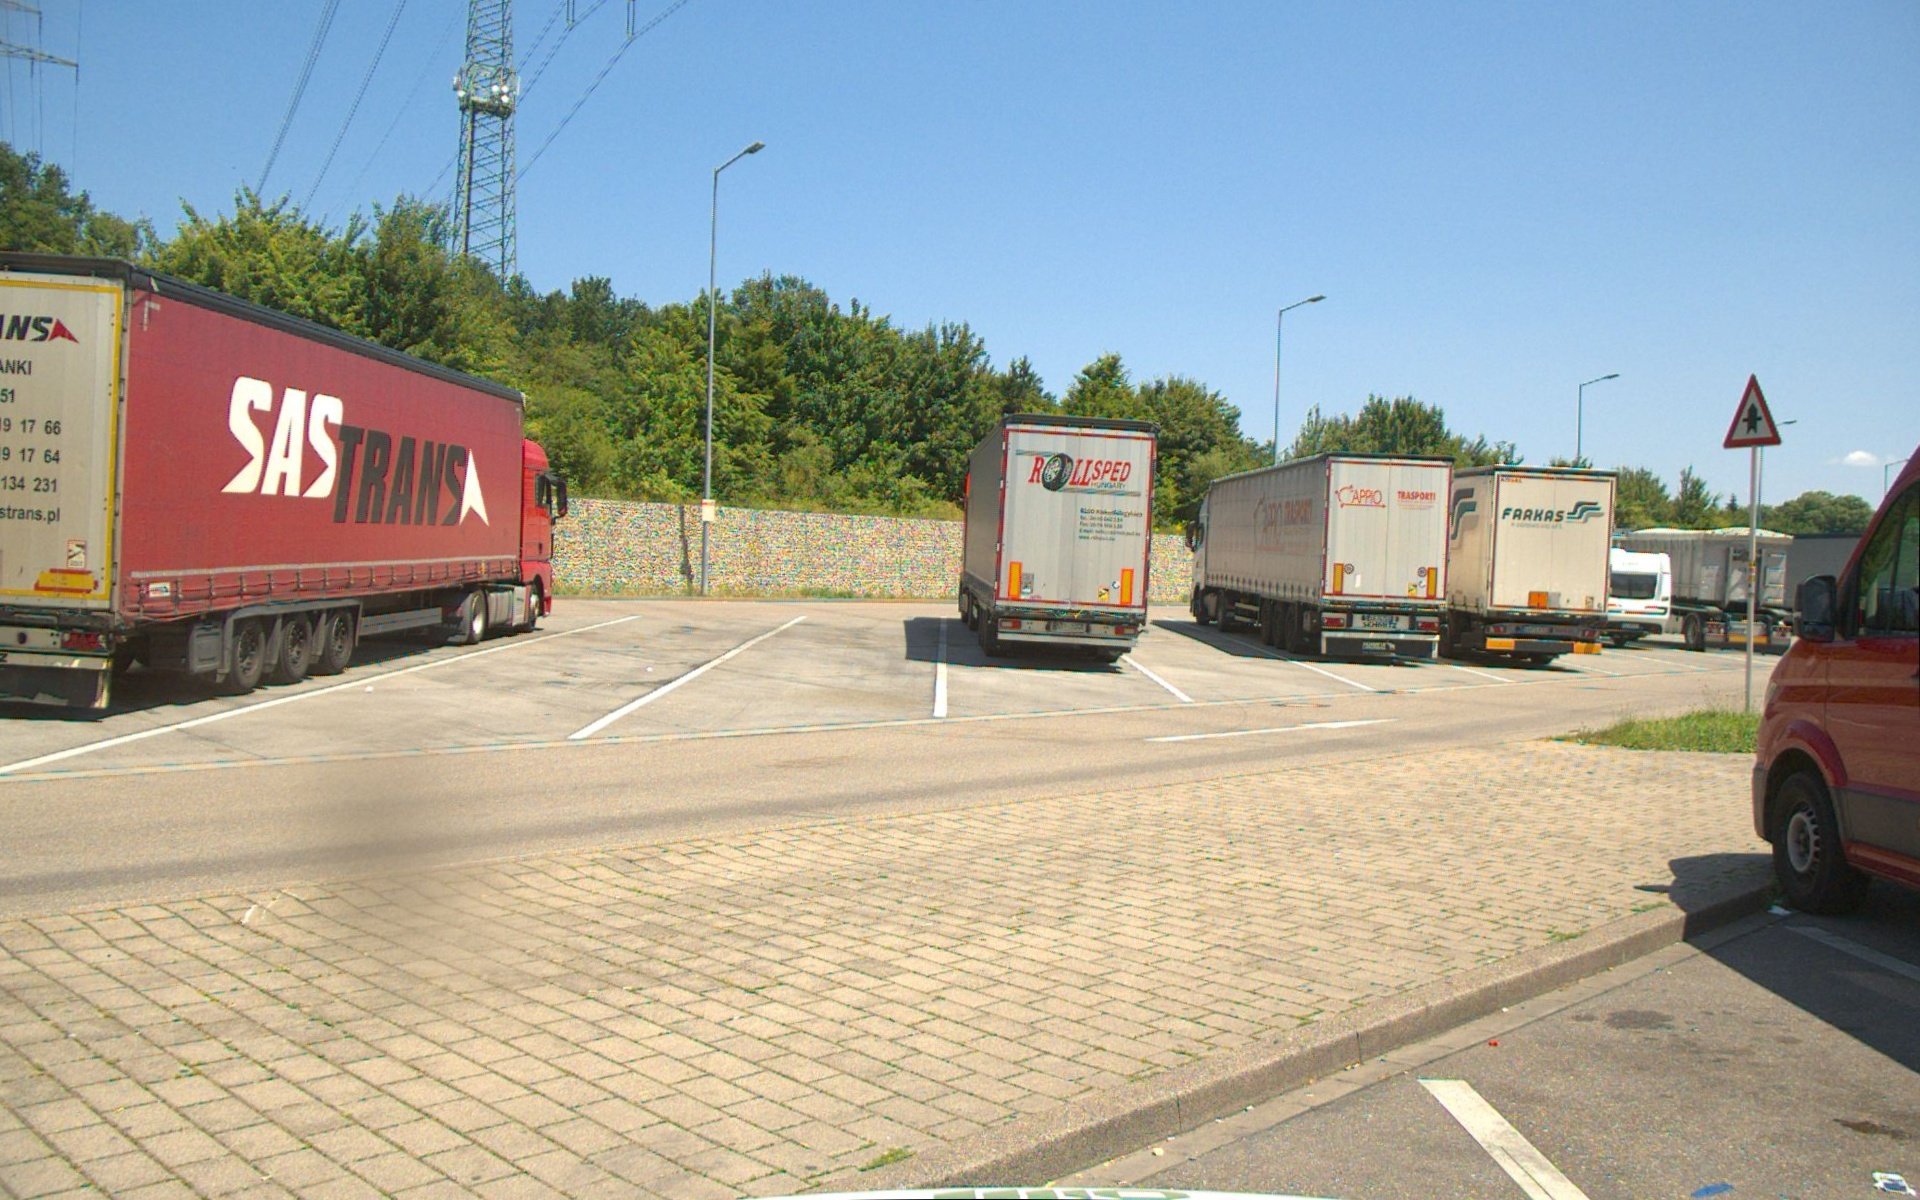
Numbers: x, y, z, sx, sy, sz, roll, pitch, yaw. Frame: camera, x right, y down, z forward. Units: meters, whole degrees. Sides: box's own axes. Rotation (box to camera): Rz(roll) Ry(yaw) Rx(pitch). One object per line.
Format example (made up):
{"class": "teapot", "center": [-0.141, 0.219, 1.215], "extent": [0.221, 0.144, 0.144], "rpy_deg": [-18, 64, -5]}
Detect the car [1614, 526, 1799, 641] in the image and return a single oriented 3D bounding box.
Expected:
{"class": "car", "center": [21.706, -0.509, 48.490], "extent": [2.448, 3.128, 6.350], "rpy_deg": [1, 1, -1]}

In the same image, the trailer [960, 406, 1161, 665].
{"class": "trailer", "center": [1.599, -1.134, 32.001], "extent": [2.838, 4.083, 11.314], "rpy_deg": [1, 1, -2]}

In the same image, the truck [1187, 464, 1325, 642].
{"class": "truck", "center": [8.026, -1.261, 45.481], "extent": [2.607, 4.530, 5.863], "rpy_deg": [1, 1, -1]}

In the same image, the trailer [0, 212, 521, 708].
{"class": "trailer", "center": [-8.631, -1.348, 20.977], "extent": [2.743, 4.293, 13.200], "rpy_deg": [1, 1, -1]}

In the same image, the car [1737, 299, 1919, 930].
{"class": "car", "center": [4.987, 0.096, 5.586], "extent": [1.952, 2.679, 6.385], "rpy_deg": [1, 1, 3]}

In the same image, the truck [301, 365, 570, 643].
{"class": "truck", "center": [-8.718, -1.518, 28.233], "extent": [2.749, 4.205, 5.893], "rpy_deg": [1, 1, -1]}

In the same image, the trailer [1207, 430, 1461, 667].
{"class": "trailer", "center": [8.181, -1.108, 38.347], "extent": [2.627, 4.530, 12.826], "rpy_deg": [1, 1, -1]}

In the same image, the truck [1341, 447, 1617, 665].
{"class": "truck", "center": [11.722, -0.845, 38.921], "extent": [2.534, 4.299, 11.967], "rpy_deg": [1, 0, -1]}

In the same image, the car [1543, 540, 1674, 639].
{"class": "car", "center": [18.241, -0.281, 46.732], "extent": [2.072, 2.645, 3.999], "rpy_deg": [1, 0, -1]}

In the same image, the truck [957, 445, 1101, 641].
{"class": "truck", "center": [1.442, -1.248, 37.639], "extent": [2.813, 4.050, 6.028], "rpy_deg": [1, 1, -2]}
